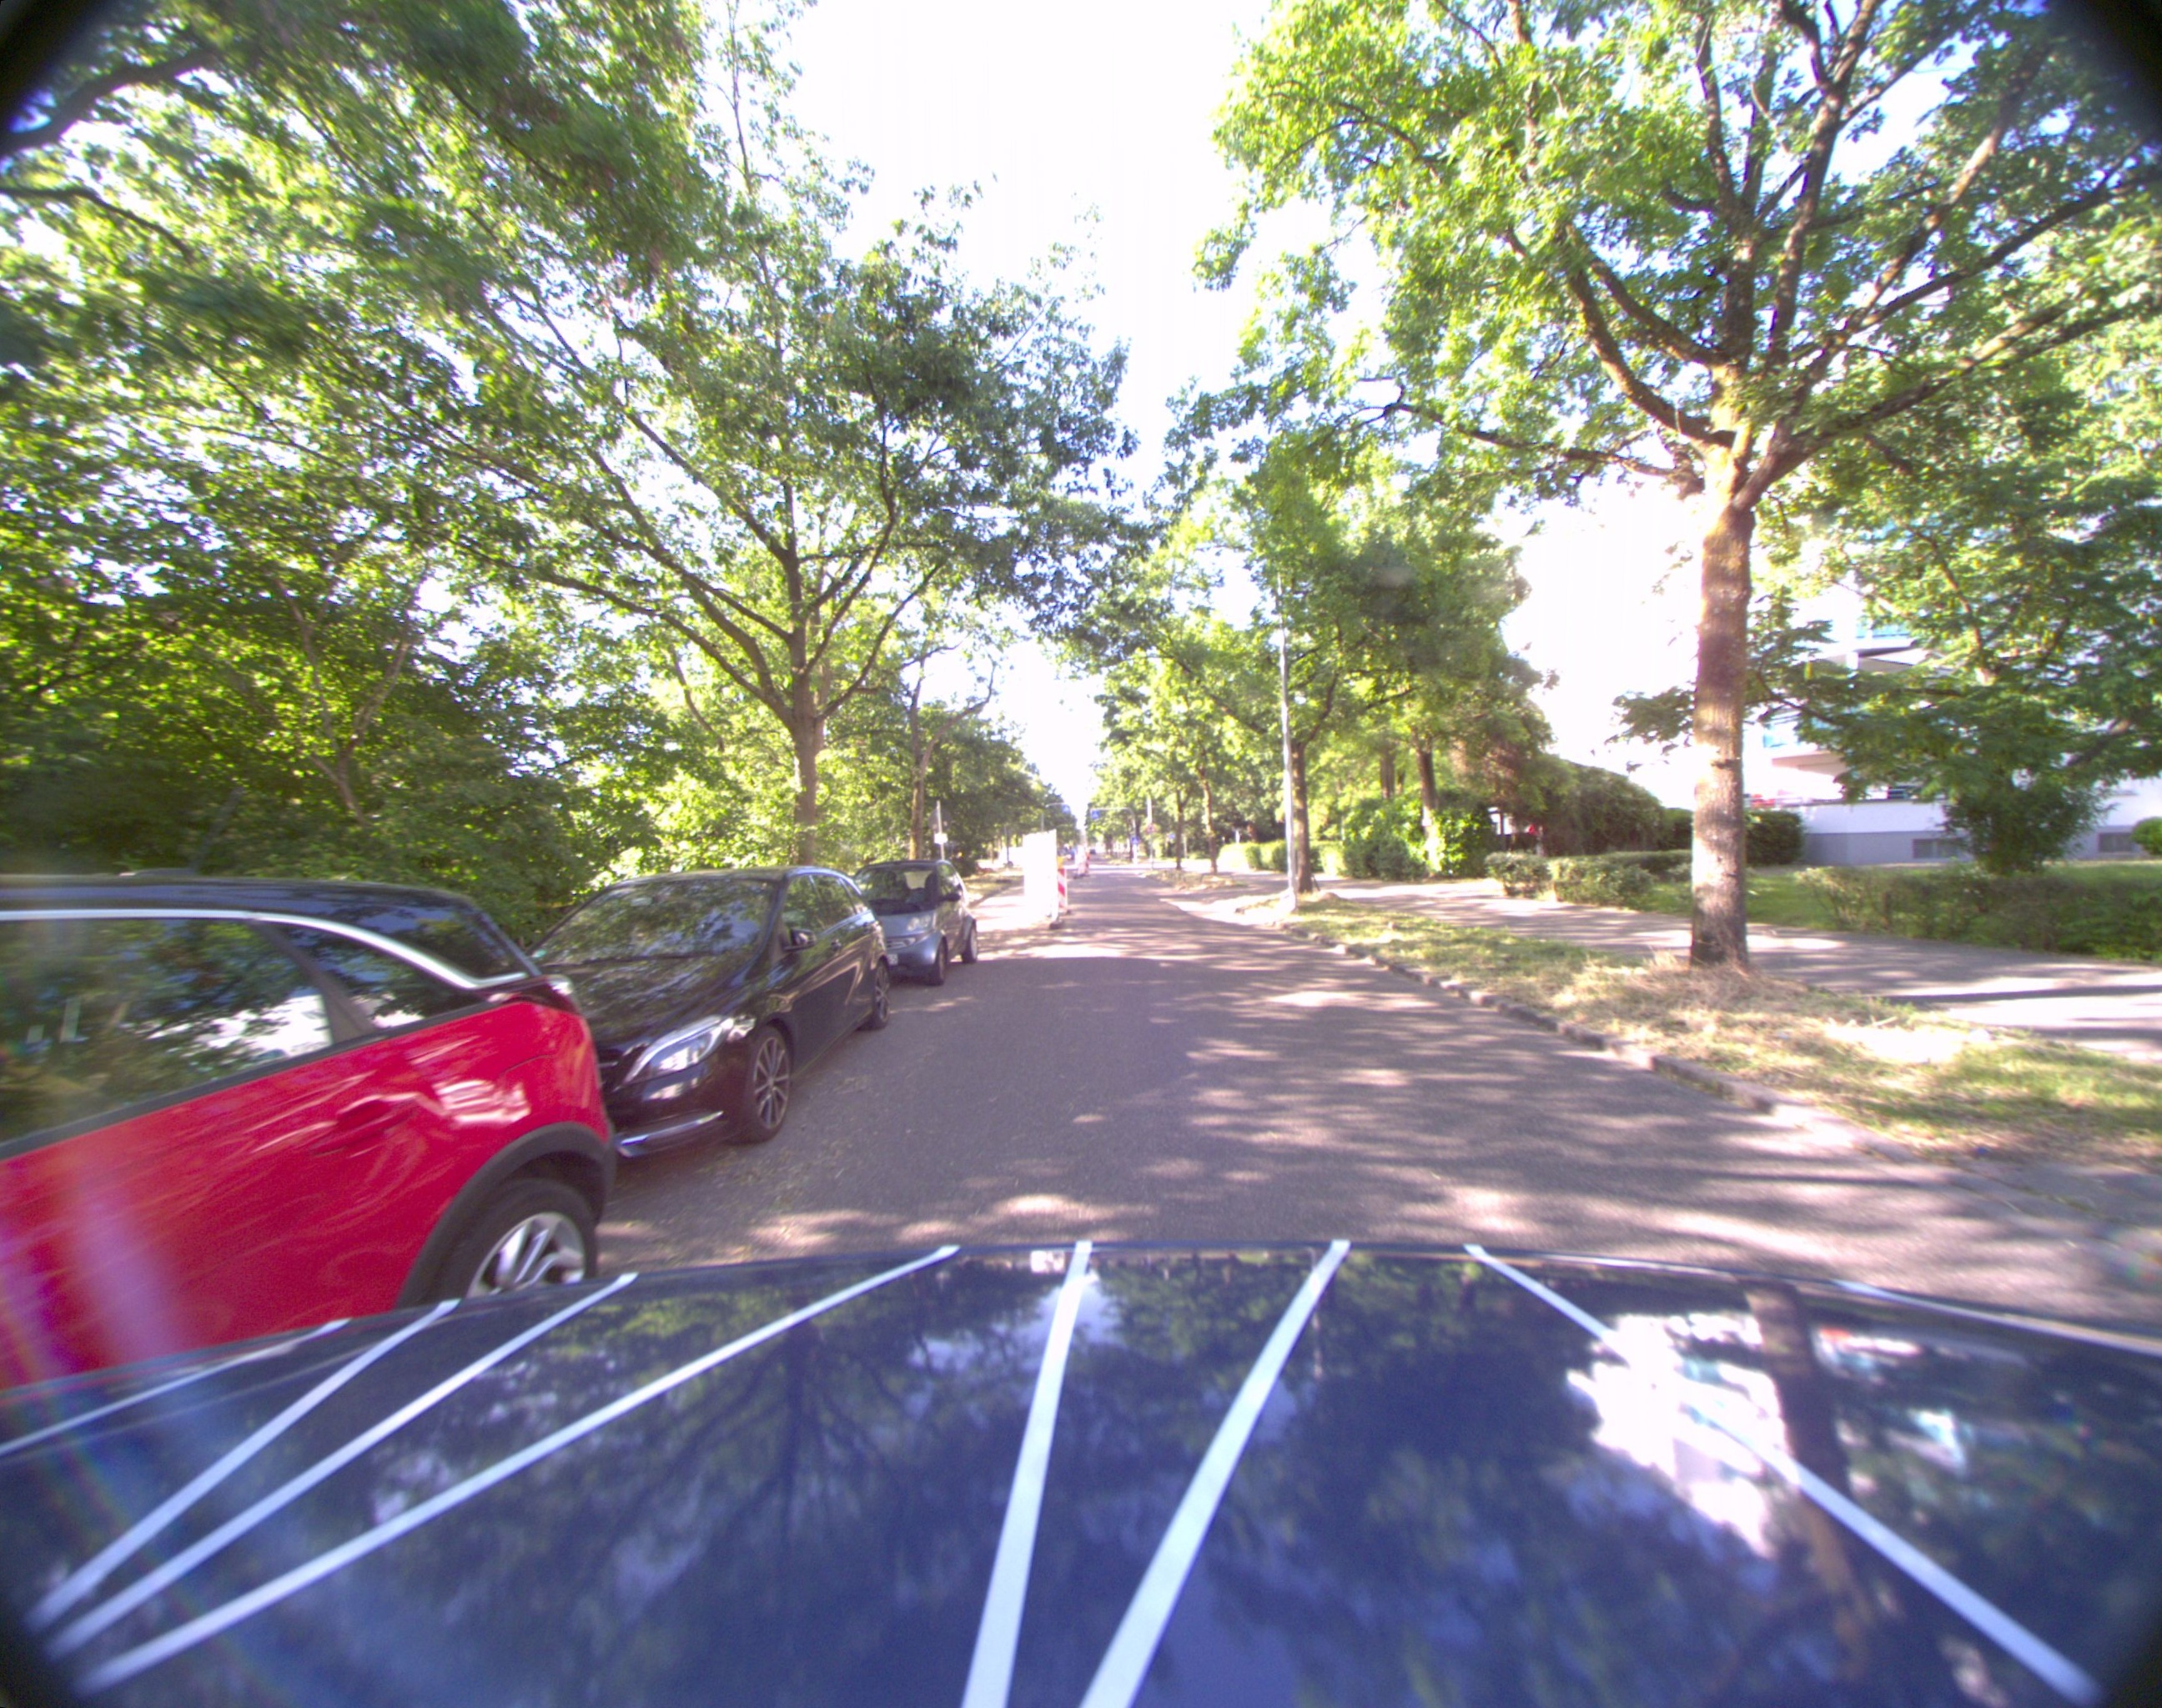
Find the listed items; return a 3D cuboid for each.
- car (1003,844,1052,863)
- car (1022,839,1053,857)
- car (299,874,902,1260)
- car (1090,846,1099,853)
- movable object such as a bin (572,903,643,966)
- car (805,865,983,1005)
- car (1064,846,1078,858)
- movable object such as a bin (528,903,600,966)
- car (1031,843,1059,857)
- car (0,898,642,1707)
[{"bbox_3d":[-5.812,-0.046,83.331,5.269,1.993,2.000,-1,1,-1],"label":"car"},{"bbox_3d":[-6.290,-0.925,110.751,4.412,2.531,1.888,-1,1,-3],"label":"car"},{"bbox_3d":[-2.622,1.005,5.469,1.716,1.500,4.148,-3,0,-2],"label":"car"},{"bbox_3d":[3.655,-1.264,205.914,1.998,1.805,4.000,-2,1,3],"label":"car"},{"bbox_3d":[-7.263,1.233,11.669,0.727,0.877,0.462,0,7,7],"label":"movable object such as a bin"},{"bbox_3d":[-2.323,0.956,10.086,1.497,1.500,2.677,-3,1,3],"label":"car"},{"bbox_3d":[-1.607,-0.286,120.678,1.998,1.871,4.000,0,1,2],"label":"car"},{"bbox_3d":[-7.995,1.233,11.762,0.727,0.877,0.462,0,7,7],"label":"movable object such as a bin"},{"bbox_3d":[-5.534,-0.622,116.010,4.245,1.993,1.565,-1,1,-3],"label":"car"},{"bbox_3d":[-2.484,0.992,0.632,1.683,1.565,4.066,-3,0,2],"label":"car"}]
